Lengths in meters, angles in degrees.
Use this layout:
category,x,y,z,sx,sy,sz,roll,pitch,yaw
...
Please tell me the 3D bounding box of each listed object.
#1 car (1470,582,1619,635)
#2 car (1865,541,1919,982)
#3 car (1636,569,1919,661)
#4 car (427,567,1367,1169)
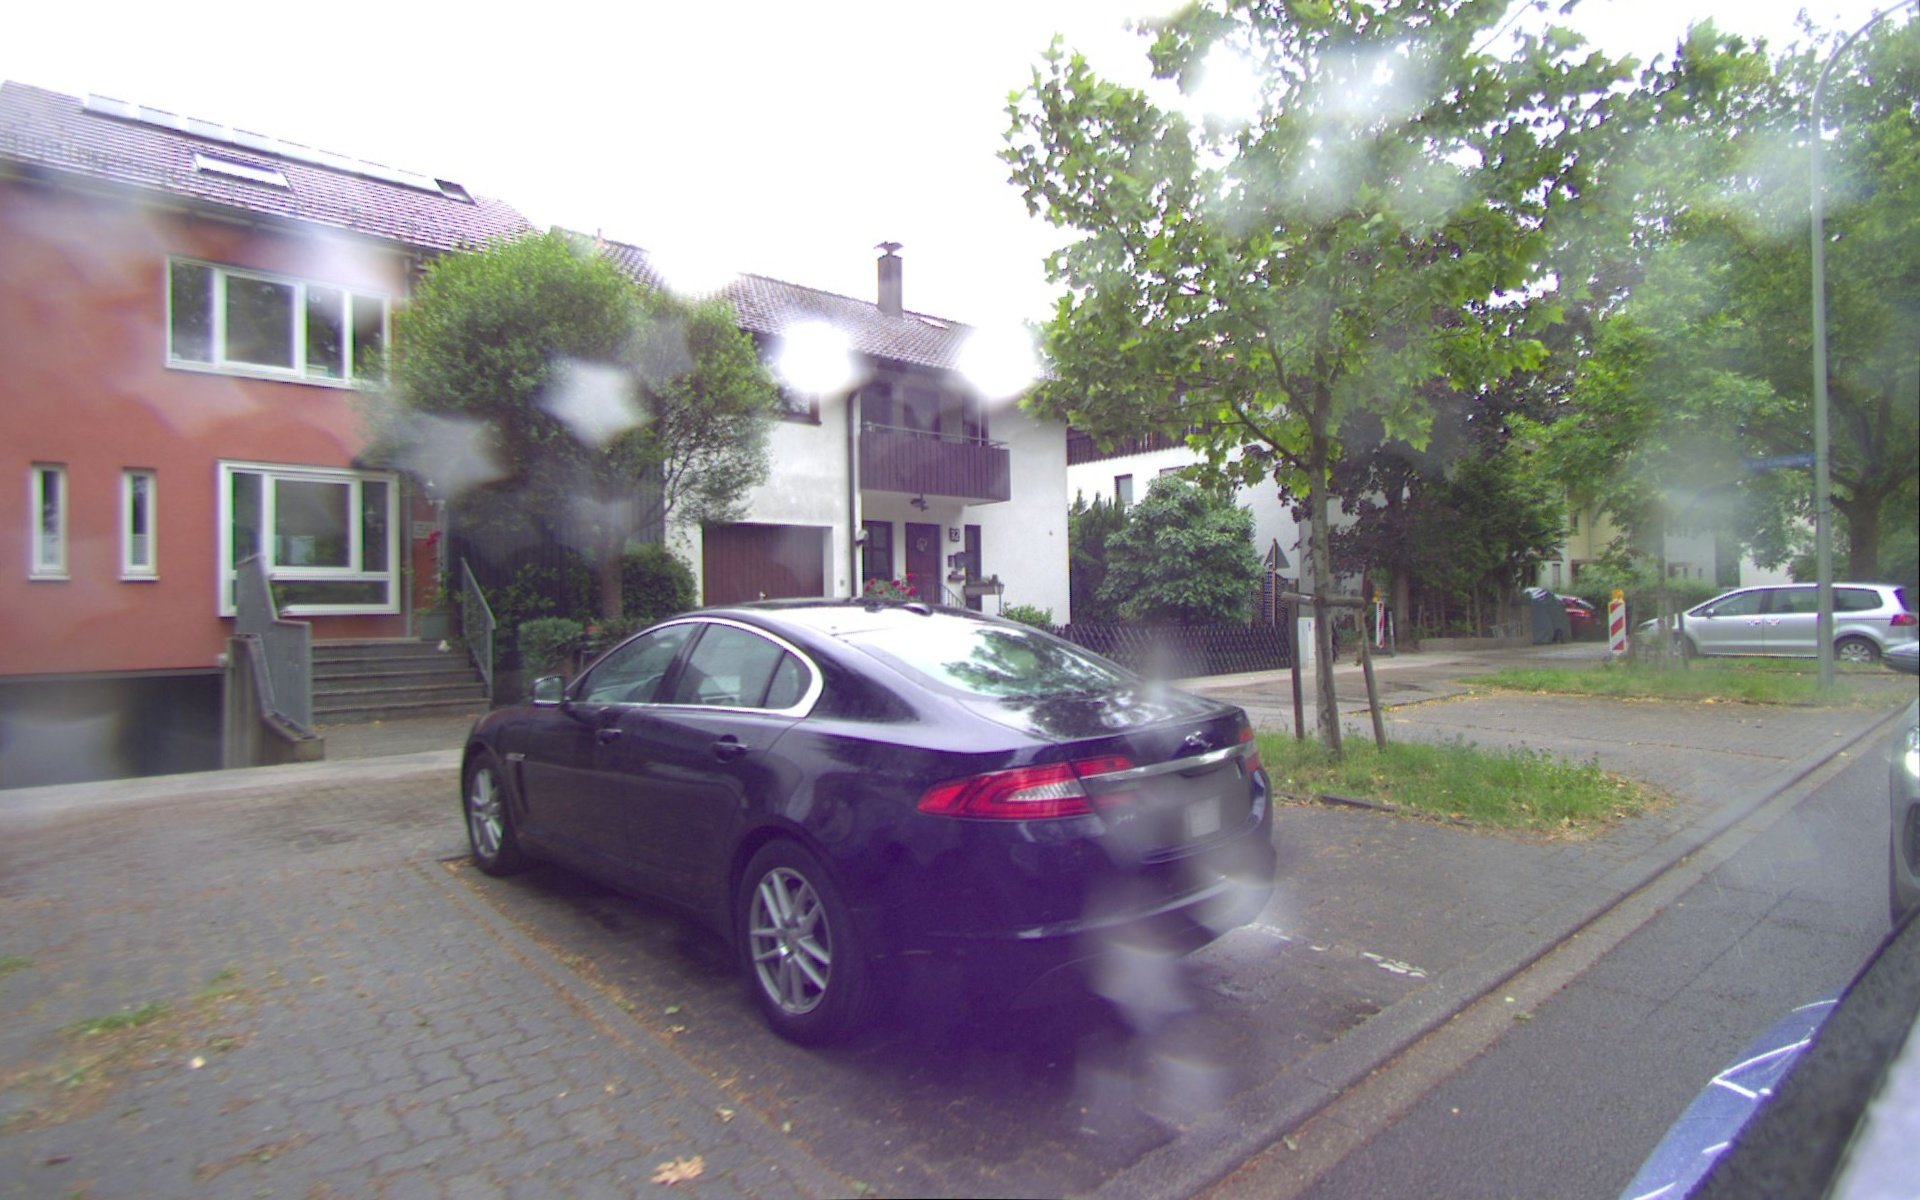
category,x,y,z,sx,sy,sz,roll,pitch,yaw
car,19.136,0.261,33.243,1.809,1.633,3.853,0,0,-39
car,5.713,0.588,4.579,4.346,1.638,1.861,0,0,-41
car,16.893,0.274,20.767,1.942,1.682,4.694,0,0,-42
car,-0.781,0.651,4.894,1.906,1.491,4.768,0,0,-45
